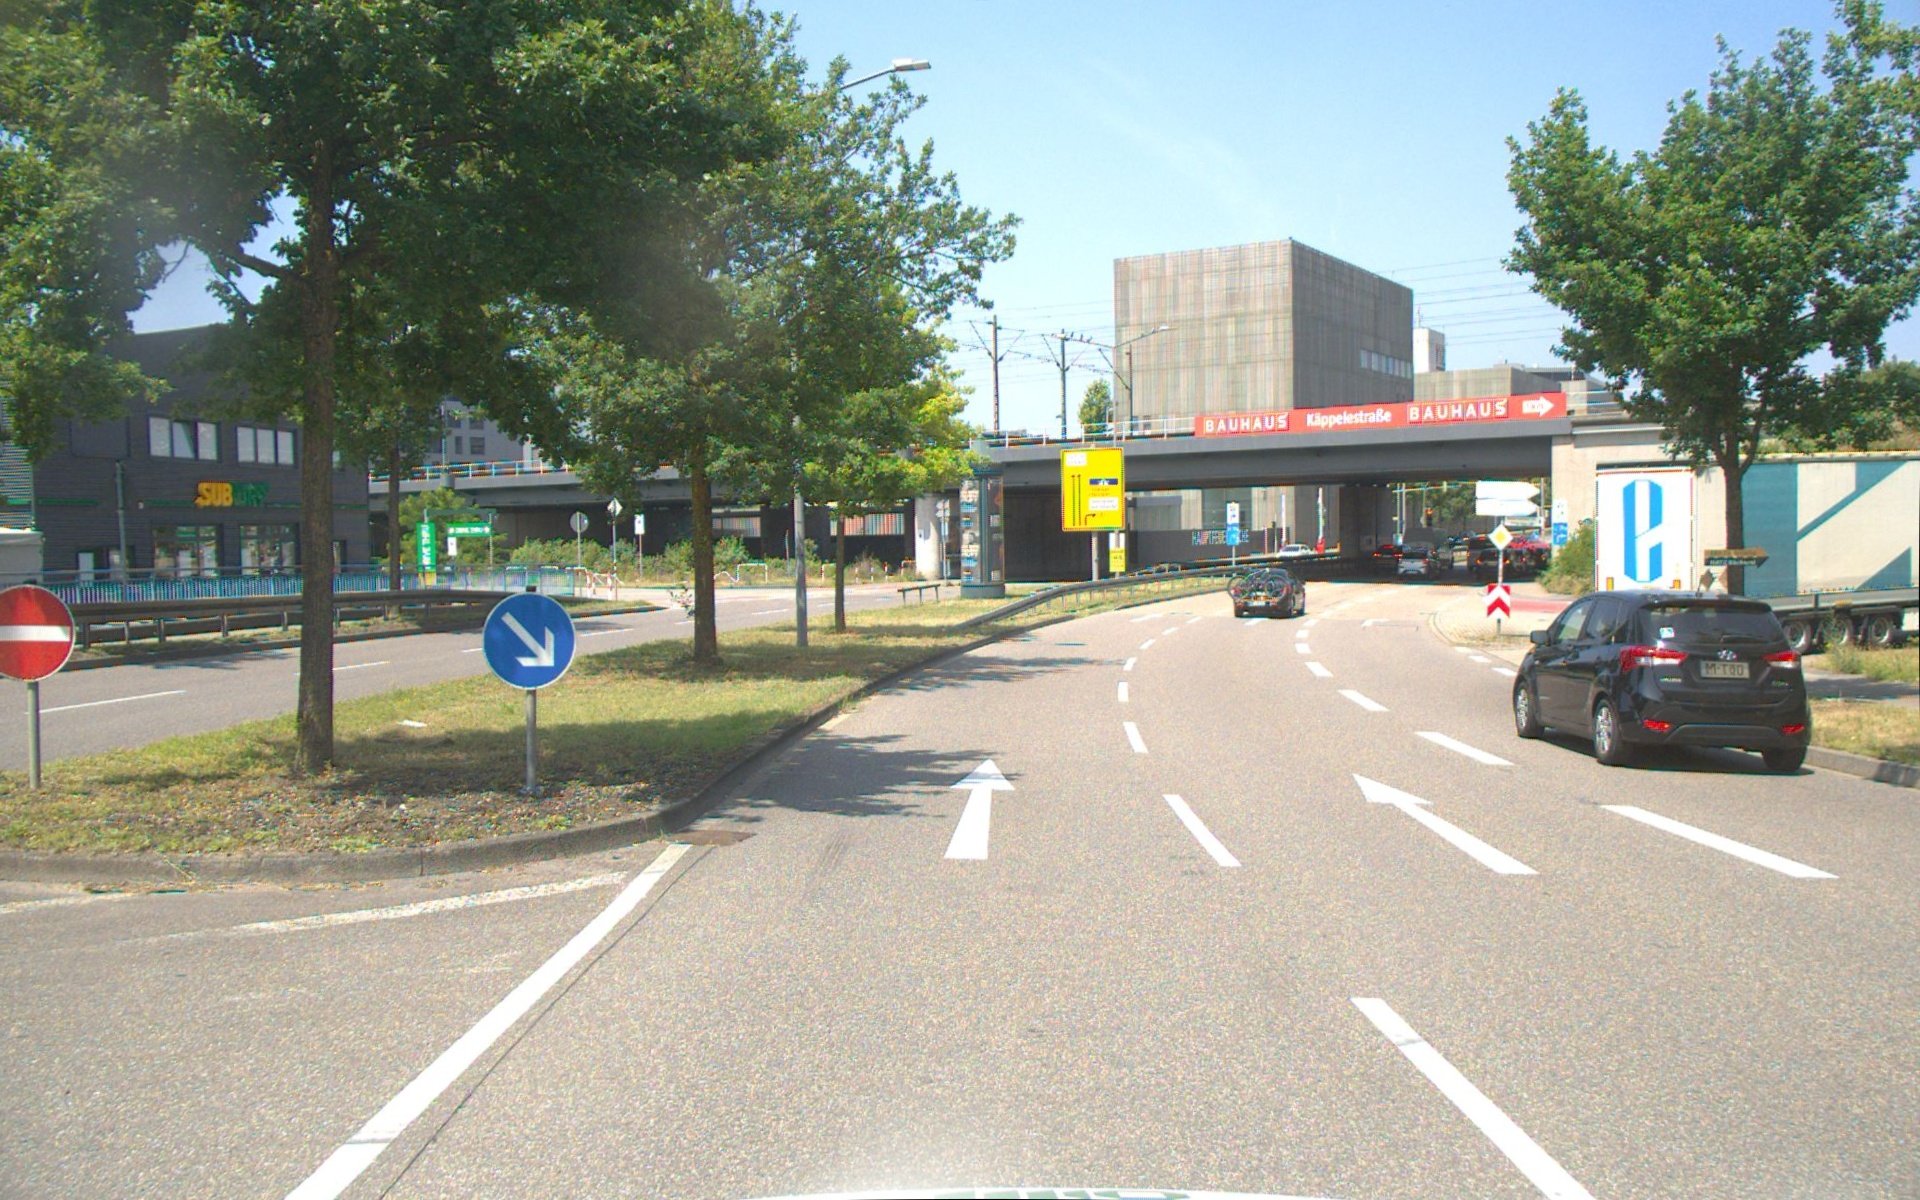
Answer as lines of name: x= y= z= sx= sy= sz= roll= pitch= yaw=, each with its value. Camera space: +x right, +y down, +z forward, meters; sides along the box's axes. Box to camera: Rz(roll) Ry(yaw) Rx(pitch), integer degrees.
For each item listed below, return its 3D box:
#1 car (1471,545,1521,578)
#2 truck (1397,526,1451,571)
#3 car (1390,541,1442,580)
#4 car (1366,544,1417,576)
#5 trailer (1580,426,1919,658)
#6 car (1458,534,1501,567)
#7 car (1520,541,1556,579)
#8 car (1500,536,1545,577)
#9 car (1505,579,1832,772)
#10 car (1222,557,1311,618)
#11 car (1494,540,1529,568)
car: x=27.239 y=-1.975 z=83.976 sx=1.804 sy=1.595 sz=3.996 roll=0 pitch=2 yaw=27
truck: x=27.533 y=-3.075 z=98.091 sx=2.029 sy=2.582 sz=3.992 roll=-1 pitch=1 yaw=31
car: x=23.076 y=-2.022 z=83.566 sx=1.804 sy=1.923 sz=3.996 roll=0 pitch=2 yaw=27
car: x=23.921 y=-2.230 z=91.644 sx=1.903 sy=1.751 sz=3.996 roll=0 pitch=2 yaw=27
trailer: x=20.113 y=-1.355 z=36.344 sx=14.545 sy=4.443 sz=3.063 roll=-2 pitch=3 yaw=-26
car: x=30.907 y=-2.923 z=98.383 sx=1.804 sy=1.923 sz=3.996 roll=0 pitch=2 yaw=27
car: x=32.920 y=-2.304 z=94.104 sx=1.589 sy=2.048 sz=3.539 roll=-2 pitch=1 yaw=24
car: x=30.219 y=-2.350 z=88.831 sx=1.699 sy=2.048 sz=3.794 roll=-2 pitch=1 yaw=27
car: x=6.755 y=0.632 z=16.256 sx=1.730 sy=1.627 sz=4.080 roll=1 pitch=0 yaw=5
car: x=9.192 y=-0.413 z=49.321 sx=1.916 sy=1.662 sz=4.281 roll=0 pitch=2 yaw=20
car: x=41.233 y=-3.434 z=123.581 sx=1.954 sy=2.048 sz=3.997 roll=0 pitch=2 yaw=26
